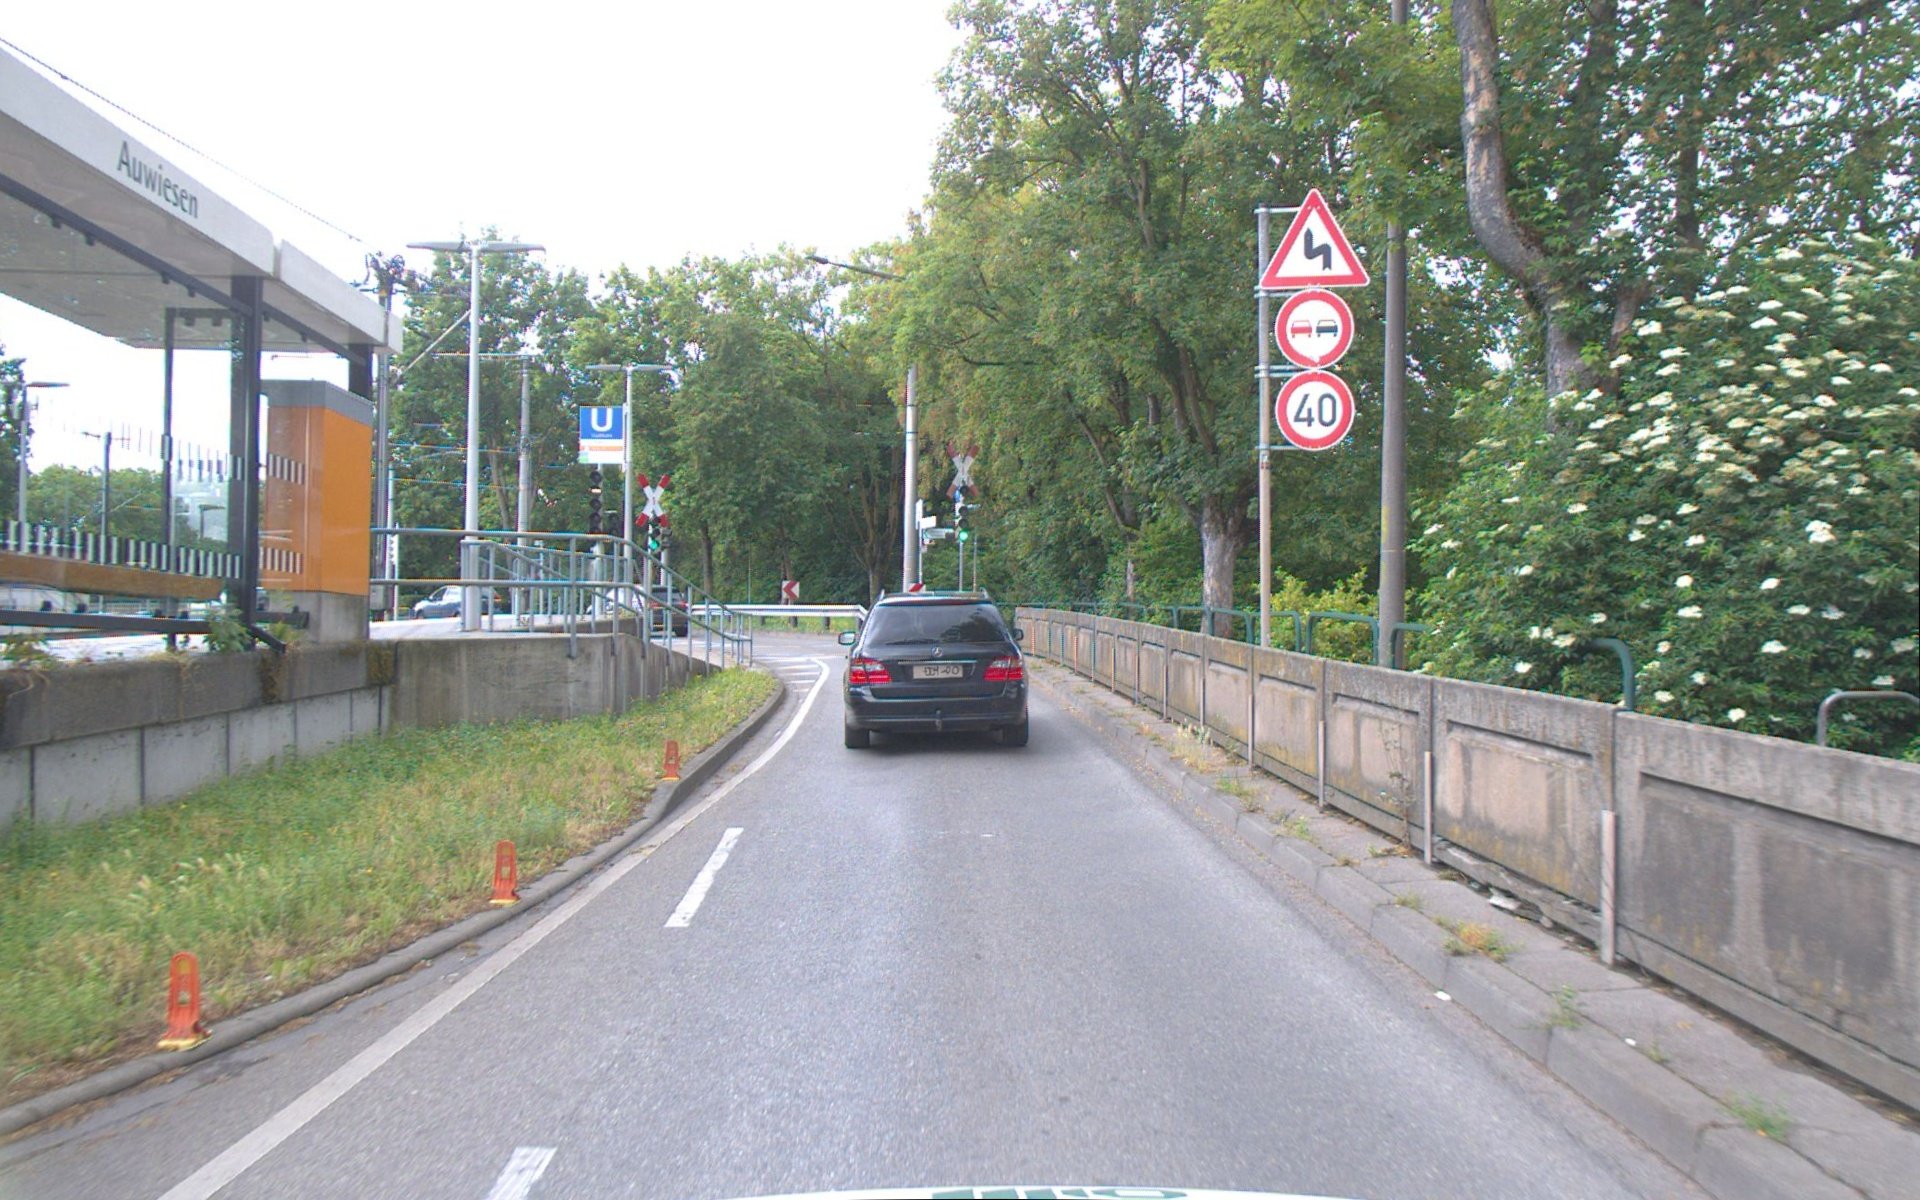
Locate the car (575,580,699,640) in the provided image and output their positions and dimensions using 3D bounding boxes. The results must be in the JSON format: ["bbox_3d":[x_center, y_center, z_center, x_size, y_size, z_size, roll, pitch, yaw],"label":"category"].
[{"bbox_3d":[-9.478,0.265,48.350,1.773,1.677,3.938,0,0,-42],"label":"car"}]

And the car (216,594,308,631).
[{"bbox_3d":[-28.211,0.491,66.838,3.929,1.423,1.988,1,1,42],"label":"car"}]

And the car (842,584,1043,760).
[{"bbox_3d":[-0.292,0.620,16.753,1.747,1.552,3.996,-1,1,-5],"label":"car"}]

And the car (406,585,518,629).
[{"bbox_3d":[-17.178,0.216,57.013,3.929,1.423,1.988,1,1,42],"label":"car"}]
